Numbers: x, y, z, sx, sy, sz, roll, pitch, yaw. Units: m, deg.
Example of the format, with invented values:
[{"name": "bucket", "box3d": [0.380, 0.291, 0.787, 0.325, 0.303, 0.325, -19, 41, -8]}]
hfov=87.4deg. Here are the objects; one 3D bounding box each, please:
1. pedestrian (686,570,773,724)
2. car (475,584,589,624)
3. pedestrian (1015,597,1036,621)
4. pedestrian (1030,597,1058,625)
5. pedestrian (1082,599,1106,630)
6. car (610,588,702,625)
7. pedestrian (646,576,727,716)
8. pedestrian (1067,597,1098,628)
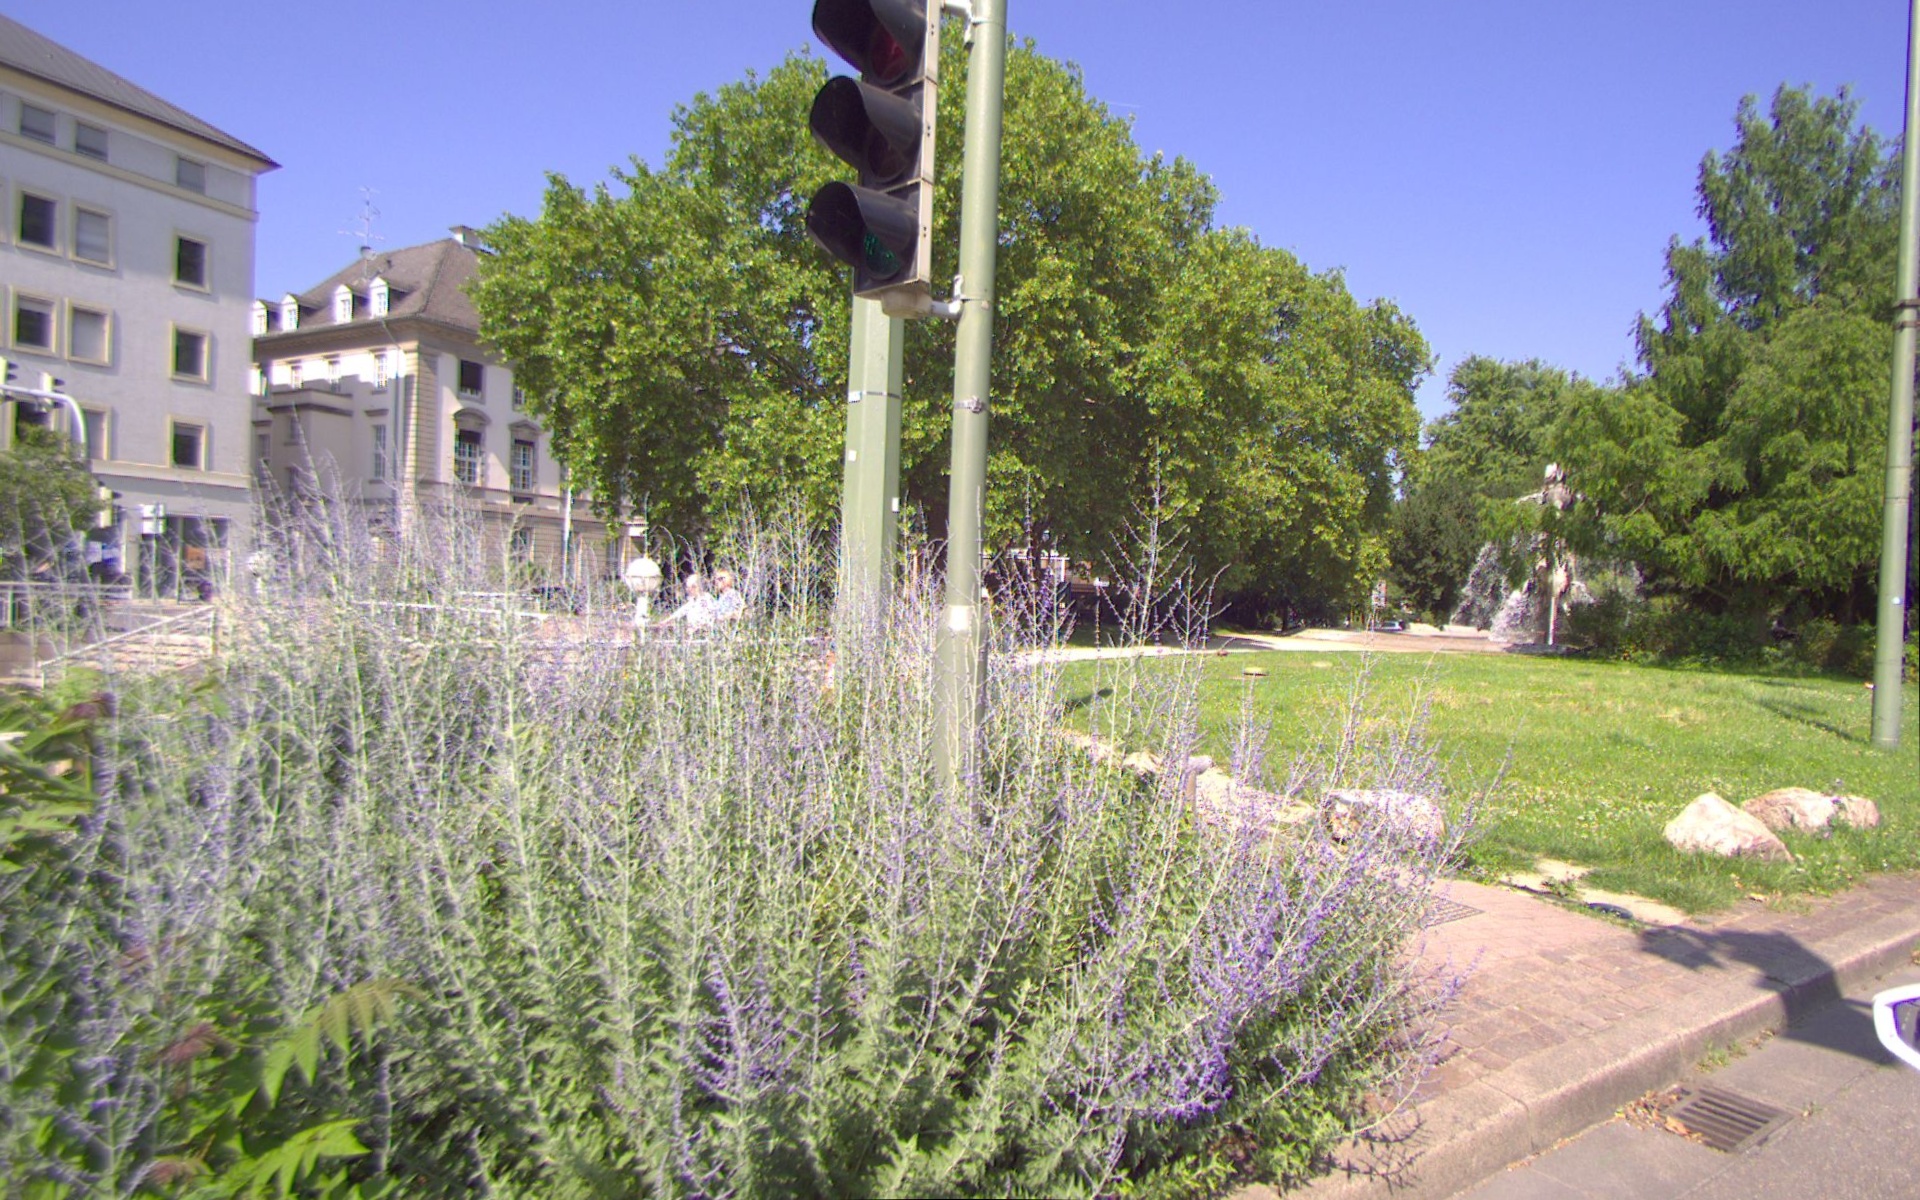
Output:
[{"name": "pedestrian", "box3d": [-2.541, 0.499, 11.055, 0.682, 1.614, 0.597, 3, 1, 40]}, {"name": "car", "box3d": [-15.308, 0.156, 36.083, 1.582, 1.286, 3.580, 3, 1, 27]}, {"name": "pedestrian", "box3d": [3.584, 0.499, 54.939, 1.038, 1.242, 0.756, 2, 1, -4]}, {"name": "pedestrian", "box3d": [3.927, 0.521, 46.842, 1.043, 1.242, 0.752, 2, 1, -22]}, {"name": "pedestrian", "box3d": [5.533, 0.599, 41.588, 0.660, 1.242, 0.752, 2, 1, -21]}, {"name": "car", "box3d": [-12.640, 0.273, 41.911, 1.582, 1.397, 3.580, 3, 1, 27]}, {"name": "pedestrian", "box3d": [-3.150, 0.507, 11.552, 0.838, 1.530, 0.473, 3, 1, 40]}, {"name": "pedestrian", "box3d": [5.165, 0.542, 42.336, 1.043, 1.242, 0.752, 2, 1, -22]}]
